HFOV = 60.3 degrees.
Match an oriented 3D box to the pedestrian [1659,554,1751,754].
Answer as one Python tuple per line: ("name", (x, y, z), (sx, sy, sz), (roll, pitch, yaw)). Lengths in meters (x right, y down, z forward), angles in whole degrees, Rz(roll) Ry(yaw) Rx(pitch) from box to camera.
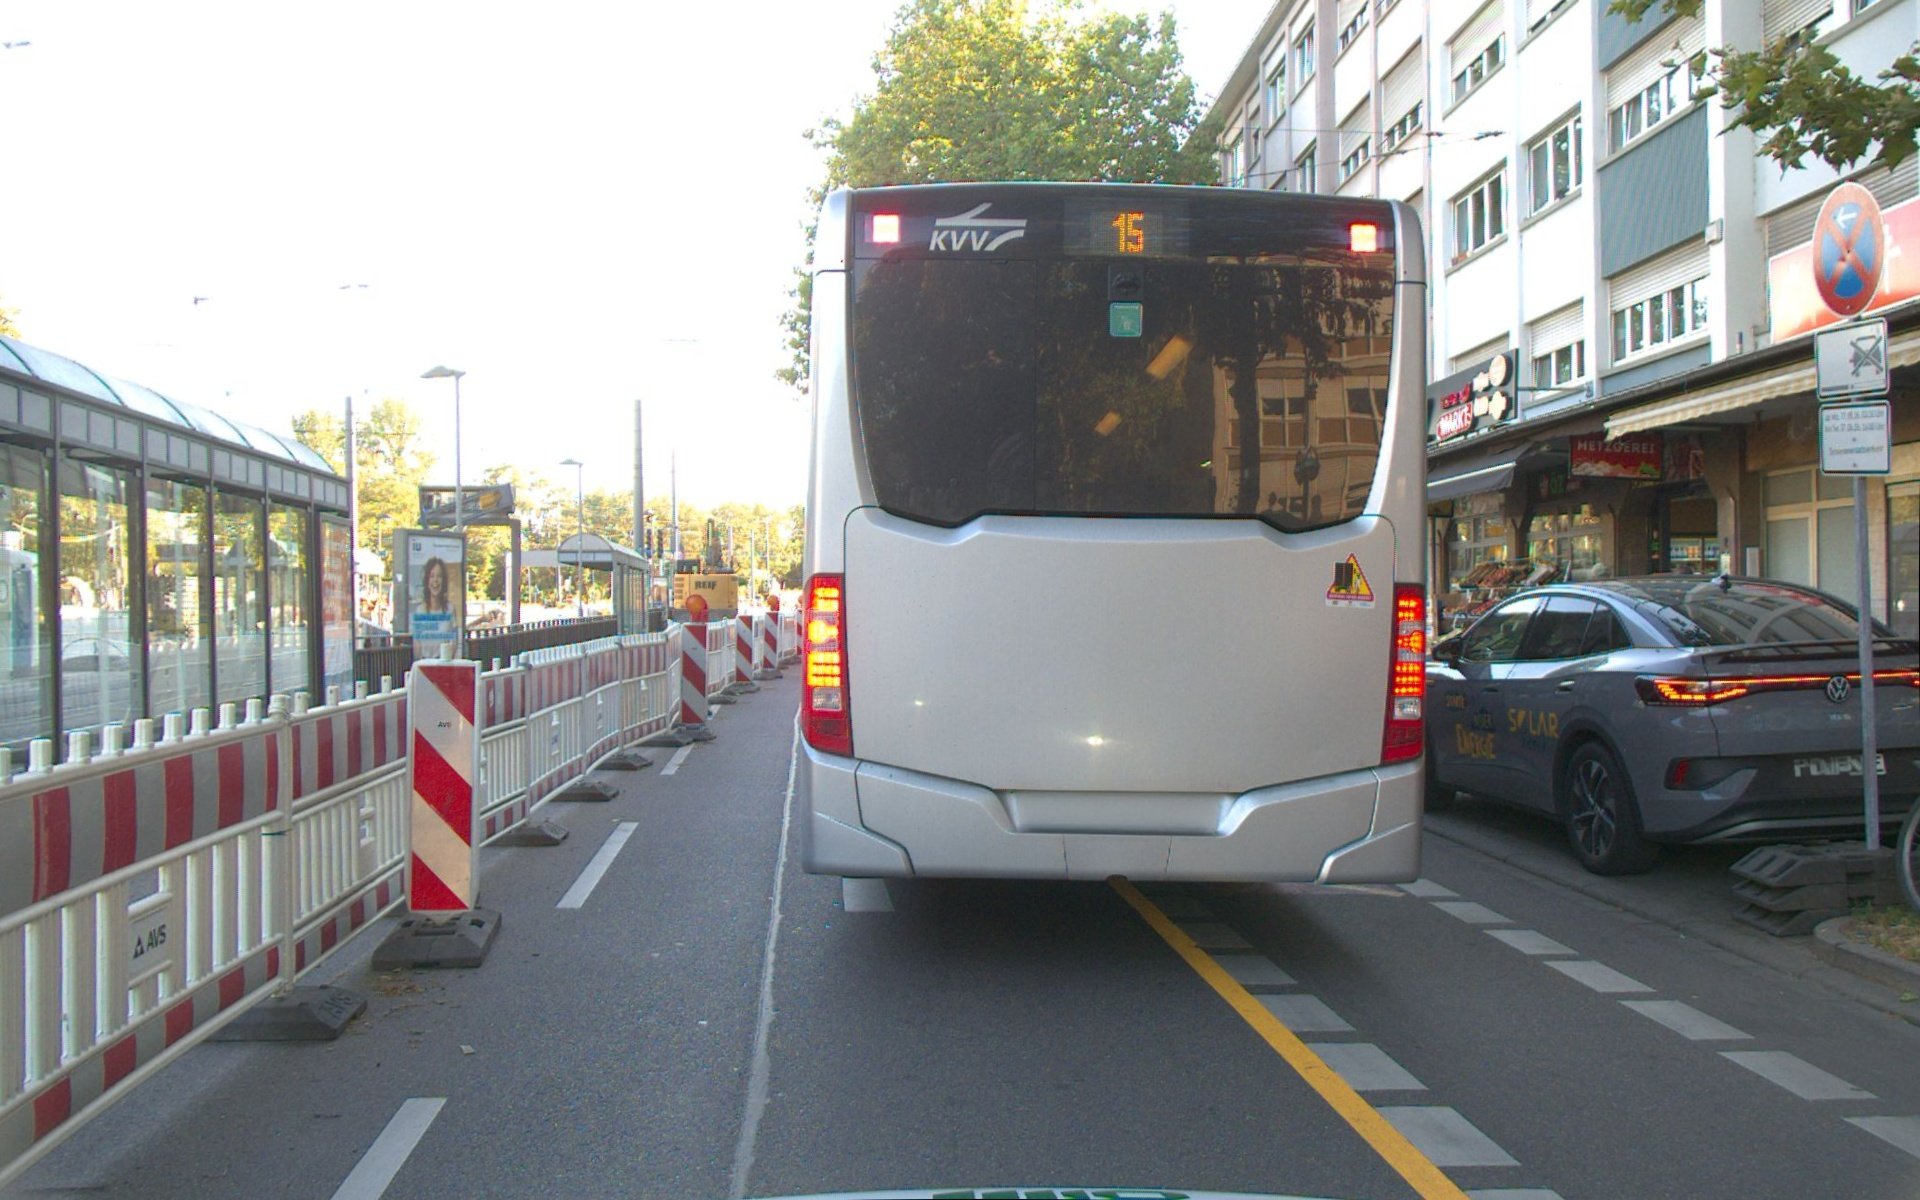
("pedestrian", (7.827, 0.554, 17.392), (0.600, 2.049, 0.696), (-1, 0, -4))

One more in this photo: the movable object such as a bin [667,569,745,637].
("movable object such as a bin", (-9.700, 0.113, 63.514), (2.752, 2.505, 3.995), (0, 0, -6))

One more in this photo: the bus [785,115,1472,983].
("bus", (0.613, -0.205, 11.307), (2.555, 3.225, 10.290), (0, 0, 0))

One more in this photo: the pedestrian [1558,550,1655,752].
("pedestrian", (6.744, 0.520, 17.277), (0.677, 2.049, 0.695), (-1, 0, -5))

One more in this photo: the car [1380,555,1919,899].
("car", (4.227, 0.614, 10.349), (1.706, 1.625, 4.294), (-3, 0, -5))
